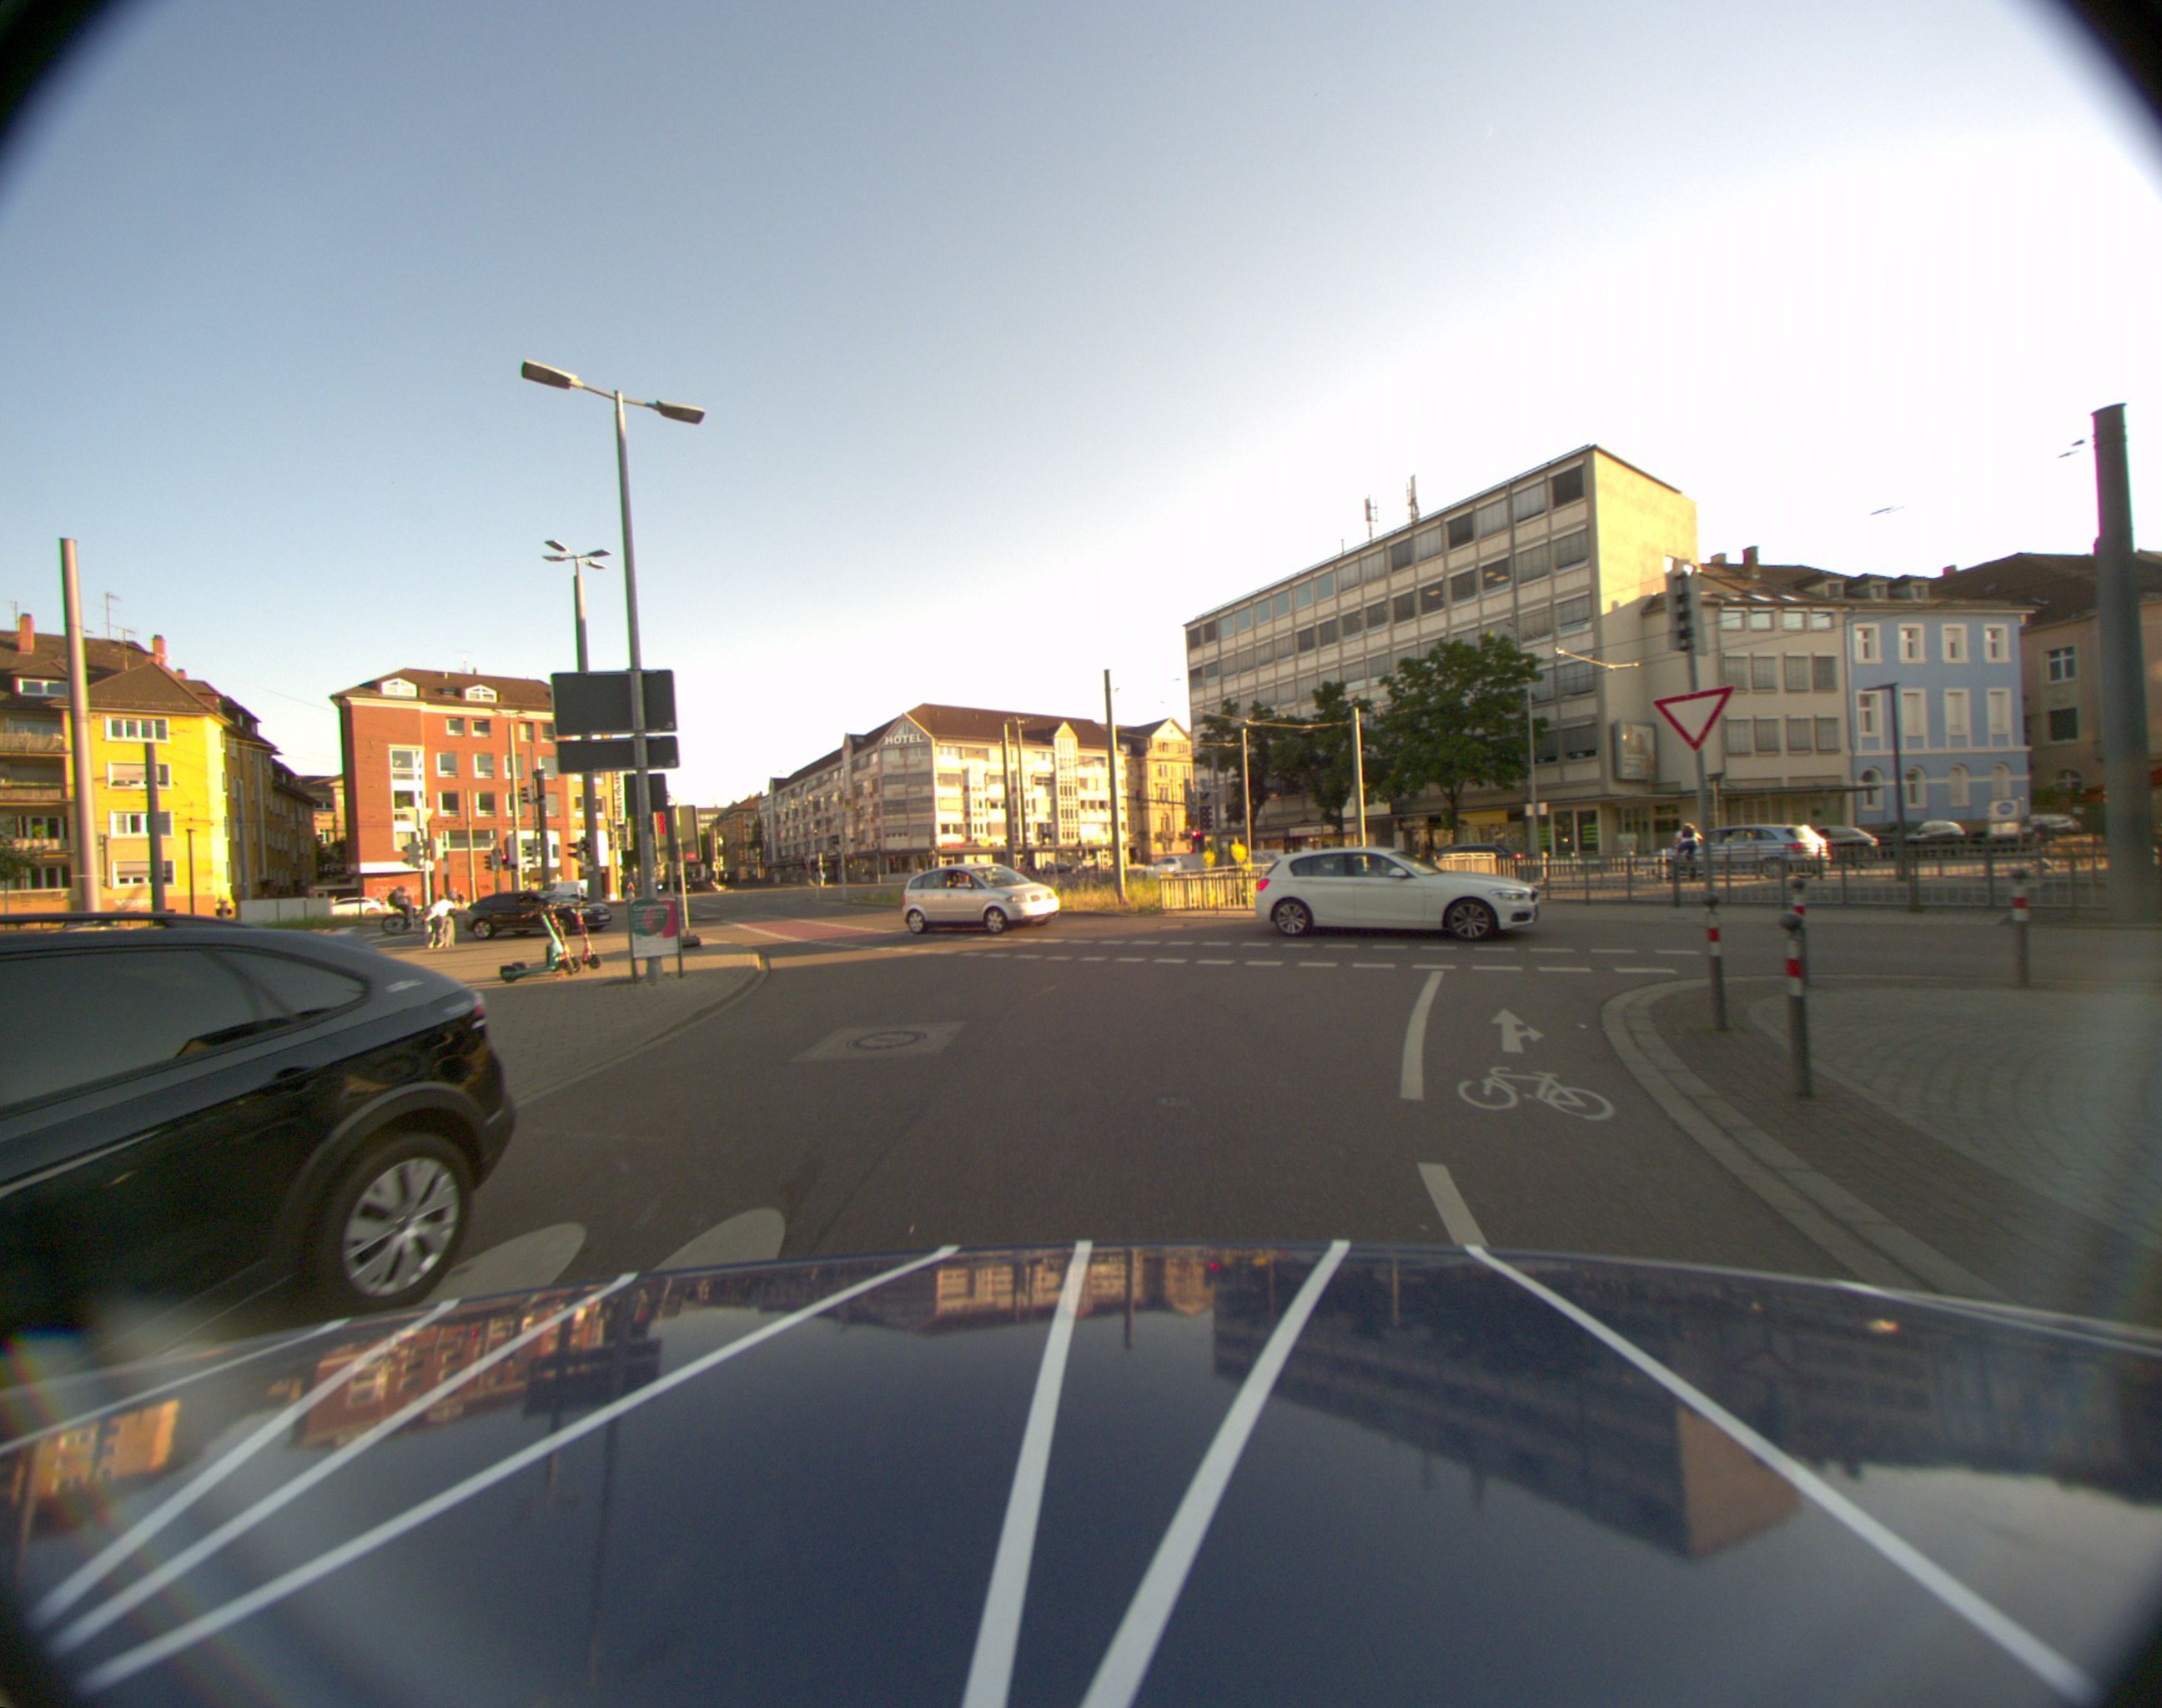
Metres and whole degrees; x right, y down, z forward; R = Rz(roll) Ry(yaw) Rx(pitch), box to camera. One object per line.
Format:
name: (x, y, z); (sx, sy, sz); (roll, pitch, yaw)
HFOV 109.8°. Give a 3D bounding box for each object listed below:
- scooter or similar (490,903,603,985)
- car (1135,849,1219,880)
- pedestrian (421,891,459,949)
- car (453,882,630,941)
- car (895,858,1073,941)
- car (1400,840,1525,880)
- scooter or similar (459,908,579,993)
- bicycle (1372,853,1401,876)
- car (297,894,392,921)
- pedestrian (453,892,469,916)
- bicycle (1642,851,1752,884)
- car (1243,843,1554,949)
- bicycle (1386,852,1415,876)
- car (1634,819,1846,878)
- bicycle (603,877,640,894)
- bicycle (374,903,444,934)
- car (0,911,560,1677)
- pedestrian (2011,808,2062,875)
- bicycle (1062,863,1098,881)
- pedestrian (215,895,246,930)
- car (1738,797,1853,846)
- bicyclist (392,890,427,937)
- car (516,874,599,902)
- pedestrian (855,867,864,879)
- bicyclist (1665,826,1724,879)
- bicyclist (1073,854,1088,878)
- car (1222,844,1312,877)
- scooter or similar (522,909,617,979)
scooter or similar: (-9.121, 1.532, 12.971); (1.651, 1.285, 0.461); (-3, 1, 8)
car: (5.159, 0.606, 41.435); (2.043, 1.432, 4.651); (-4, 0, -31)
pedestrian: (-18.713, 1.910, 22.192); (0.691, 1.604, 0.595); (-3, 0, -29)
car: (-17.628, 1.852, 24.976); (4.388, 1.608, 1.944); (-3, 0, 2)
car: (-2.225, 1.002, 16.978); (3.717, 1.552, 1.684); (-3, 2, 37)
car: (15.837, 0.271, 31.647); (4.360, 1.427, 1.740); (-3, 0, 37)
scooter or similar: (-9.162, 1.564, 12.403); (1.524, 1.252, 0.612); (-3, 0, 8)
bicycle: (16.380, 0.546, 40.712); (1.749, 1.133, 0.665); (-4, 1, -40)
car: (-51.152, 3.683, 52.905); (4.571, 1.440, 1.812); (-3, 1, -41)
pedestrian: (-48.753, 3.923, 59.745); (0.874, 1.768, 0.915); (-4, 2, -41)
bicycle: (17.368, 0.360, 21.520); (0.846, 0.842, 2.420); (-3, 0, -10)
car: (5.064, 0.615, 12.337); (4.292, 1.397, 1.920); (-2, 1, 36)
bicycle: (16.718, 0.512, 39.772); (1.640, 1.178, 0.537); (-4, 1, -33)
car: (19.631, -0.124, 22.871); (2.208, 1.550, 4.271); (-3, 0, -27)
bicycle: (-50.256, 3.458, 83.137); (3.313, 1.716, 1.067); (-2, 0, -35)
bicycle: (-25.461, 2.428, 28.810); (1.849, 1.017, 0.595); (-3, 0, -27)
car: (-3.274, 1.068, 1.286); (1.783, 1.534, 4.290); (-3, 0, -1)
pedestrian: (26.236, -0.350, 20.862); (0.855, 1.778, 0.810); (-3, 1, -37)
bicycle: (-0.044, 1.041, 44.561); (1.951, 0.924, 0.725); (-3, 0, 9)
pedestrian: (-39.278, 2.689, 35.098); (0.637, 1.532, 0.706); (-3, 1, -20)
car: (26.121, -1.196, 27.744); (4.256, 1.565, 1.882); (-3, 0, -30)
bicyclist: (-25.456, 2.252, 28.802); (0.749, 1.662, 0.595); (-4, 3, -27)
car: (-40.560, 2.607, 58.962); (4.872, 1.827, 2.001); (-3, 0, -1)
pedestrian: (-29.060, 2.488, 99.599); (0.709, 1.540, 0.904); (-3, 1, -38)
bicyclist: (17.351, -0.031, 21.511); (0.835, 1.432, 0.930); (-3, 1, -10)
bicyclist: (-0.019, 0.696, 44.547); (0.683, 1.361, 0.716); (-3, 0, 10)
car: (9.755, 0.368, 40.137); (2.003, 1.565, 4.292); (-3, 0, -34)
scooter or similar: (-9.071, 1.593, 13.477); (1.402, 1.159, 0.461); (-3, 0, 8)
